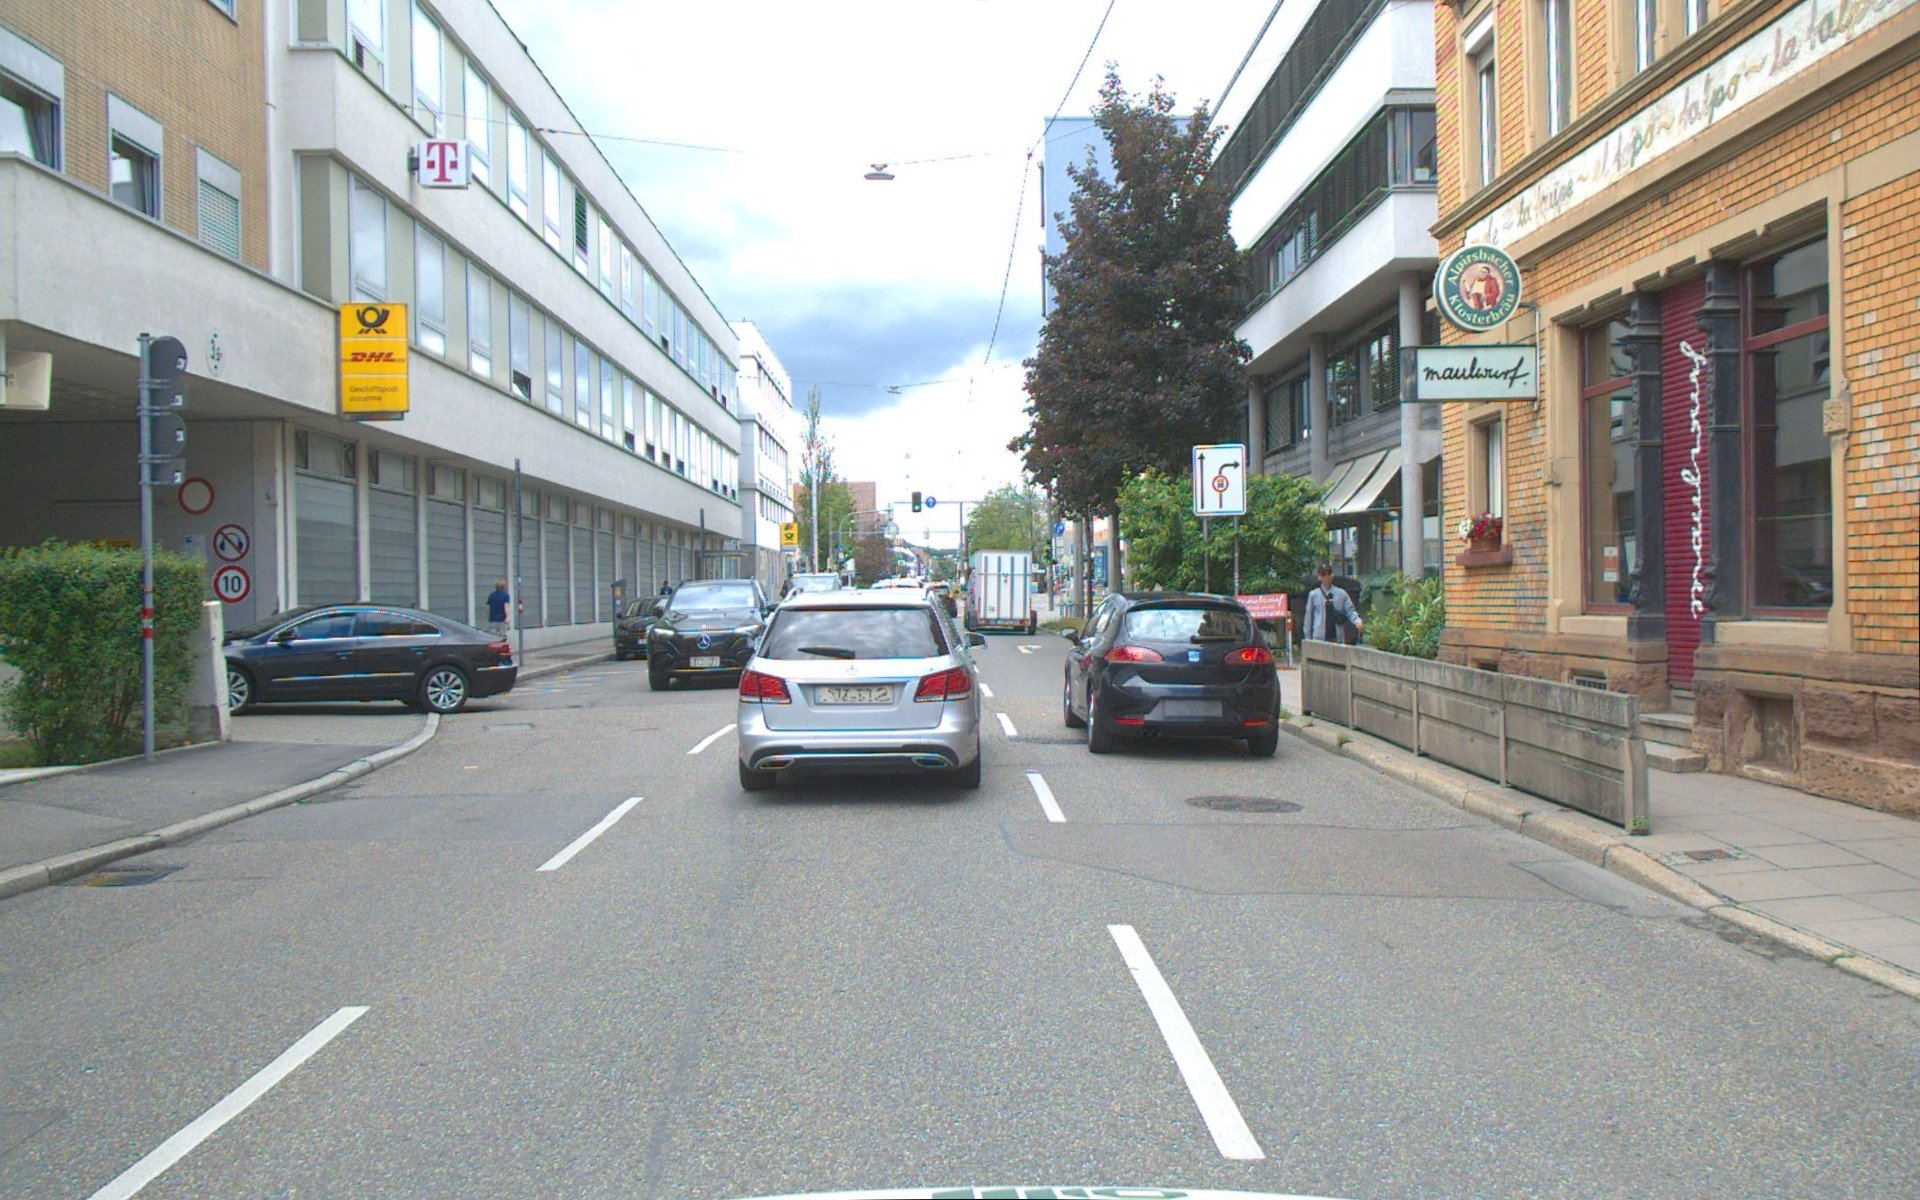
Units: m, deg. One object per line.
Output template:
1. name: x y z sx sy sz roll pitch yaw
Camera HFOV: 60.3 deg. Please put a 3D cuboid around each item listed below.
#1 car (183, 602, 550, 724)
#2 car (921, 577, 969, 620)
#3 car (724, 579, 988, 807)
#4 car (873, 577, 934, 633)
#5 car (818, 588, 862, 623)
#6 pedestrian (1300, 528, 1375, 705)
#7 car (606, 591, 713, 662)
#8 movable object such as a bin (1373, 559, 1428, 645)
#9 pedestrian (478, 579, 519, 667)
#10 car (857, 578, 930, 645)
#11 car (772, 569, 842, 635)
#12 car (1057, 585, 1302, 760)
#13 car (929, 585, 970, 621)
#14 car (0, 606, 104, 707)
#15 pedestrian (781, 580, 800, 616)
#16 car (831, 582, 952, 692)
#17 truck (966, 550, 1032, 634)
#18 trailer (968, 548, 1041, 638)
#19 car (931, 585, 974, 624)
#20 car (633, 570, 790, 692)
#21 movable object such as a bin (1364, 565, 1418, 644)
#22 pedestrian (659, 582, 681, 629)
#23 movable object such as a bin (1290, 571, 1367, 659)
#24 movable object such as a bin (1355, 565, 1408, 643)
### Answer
1. car: -7.834 0.765 21.945 4.354 1.389 1.767 -1 1 -31
2. car: -0.602 -0.080 63.950 1.767 1.629 3.736 0 0 -2
3. car: -0.757 0.613 13.116 1.767 1.518 3.736 -1 1 -2
4. car: -1.710 0.132 50.085 1.767 1.629 3.736 0 0 -2
5. car: -5.393 0.232 74.852 1.733 1.438 4.173 -2 1 -2
6. pedestrian: 4.446 0.186 19.517 0.679 2.049 0.676 -1 0 -3
7. car: -7.144 0.590 39.679 1.874 1.543 4.173 -2 1 -2
8. movable object such as a bin: 8.626 0.034 32.414 0.804 1.617 0.732 -3 -1 0
9. pedestrian: -9.529 0.461 34.171 0.629 1.800 0.809 -1 0 -2
10. car: -1.685 0.273 42.366 1.767 1.629 3.736 0 0 -2
11. car: -5.026 0.037 55.039 1.953 2.049 4.901 -2 1 -2
12. car: 2.000 0.603 16.097 1.730 1.458 3.827 -1 1 -2
13. car: -0.507 0.114 76.220 1.767 1.629 3.736 0 0 -2
14. car: -15.353 0.860 26.167 1.718 1.482 3.690 0 0 -1
15. pedestrian: -9.097 -0.120 88.861 0.899 1.901 0.783 -1 0 -2
16. car: -1.060 0.522 26.201 1.767 1.580 3.736 -1 1 -2
17. truck: 1.254 -0.267 54.370 1.953 2.653 3.259 -1 0 -2
18. trailer: 1.326 -0.233 51.607 1.953 2.653 5.347 -1 0 -2
19. car: -0.339 0.181 70.943 1.767 1.629 3.736 0 0 -2
20. car: -4.009 0.449 27.412 1.953 1.769 4.552 -3 1 -2
21. movable object such as a bin: 8.644 0.099 33.170 0.804 1.516 0.732 -3 -1 0
22. pedestrian: -10.408 0.191 59.456 0.642 1.651 0.681 -1 0 0
23. movable object such as a bin: 6.612 0.263 29.739 0.924 1.496 1.445 -3 0 -4
24. movable object such as a bin: 8.636 0.089 33.927 0.804 1.530 0.732 -3 -1 0
